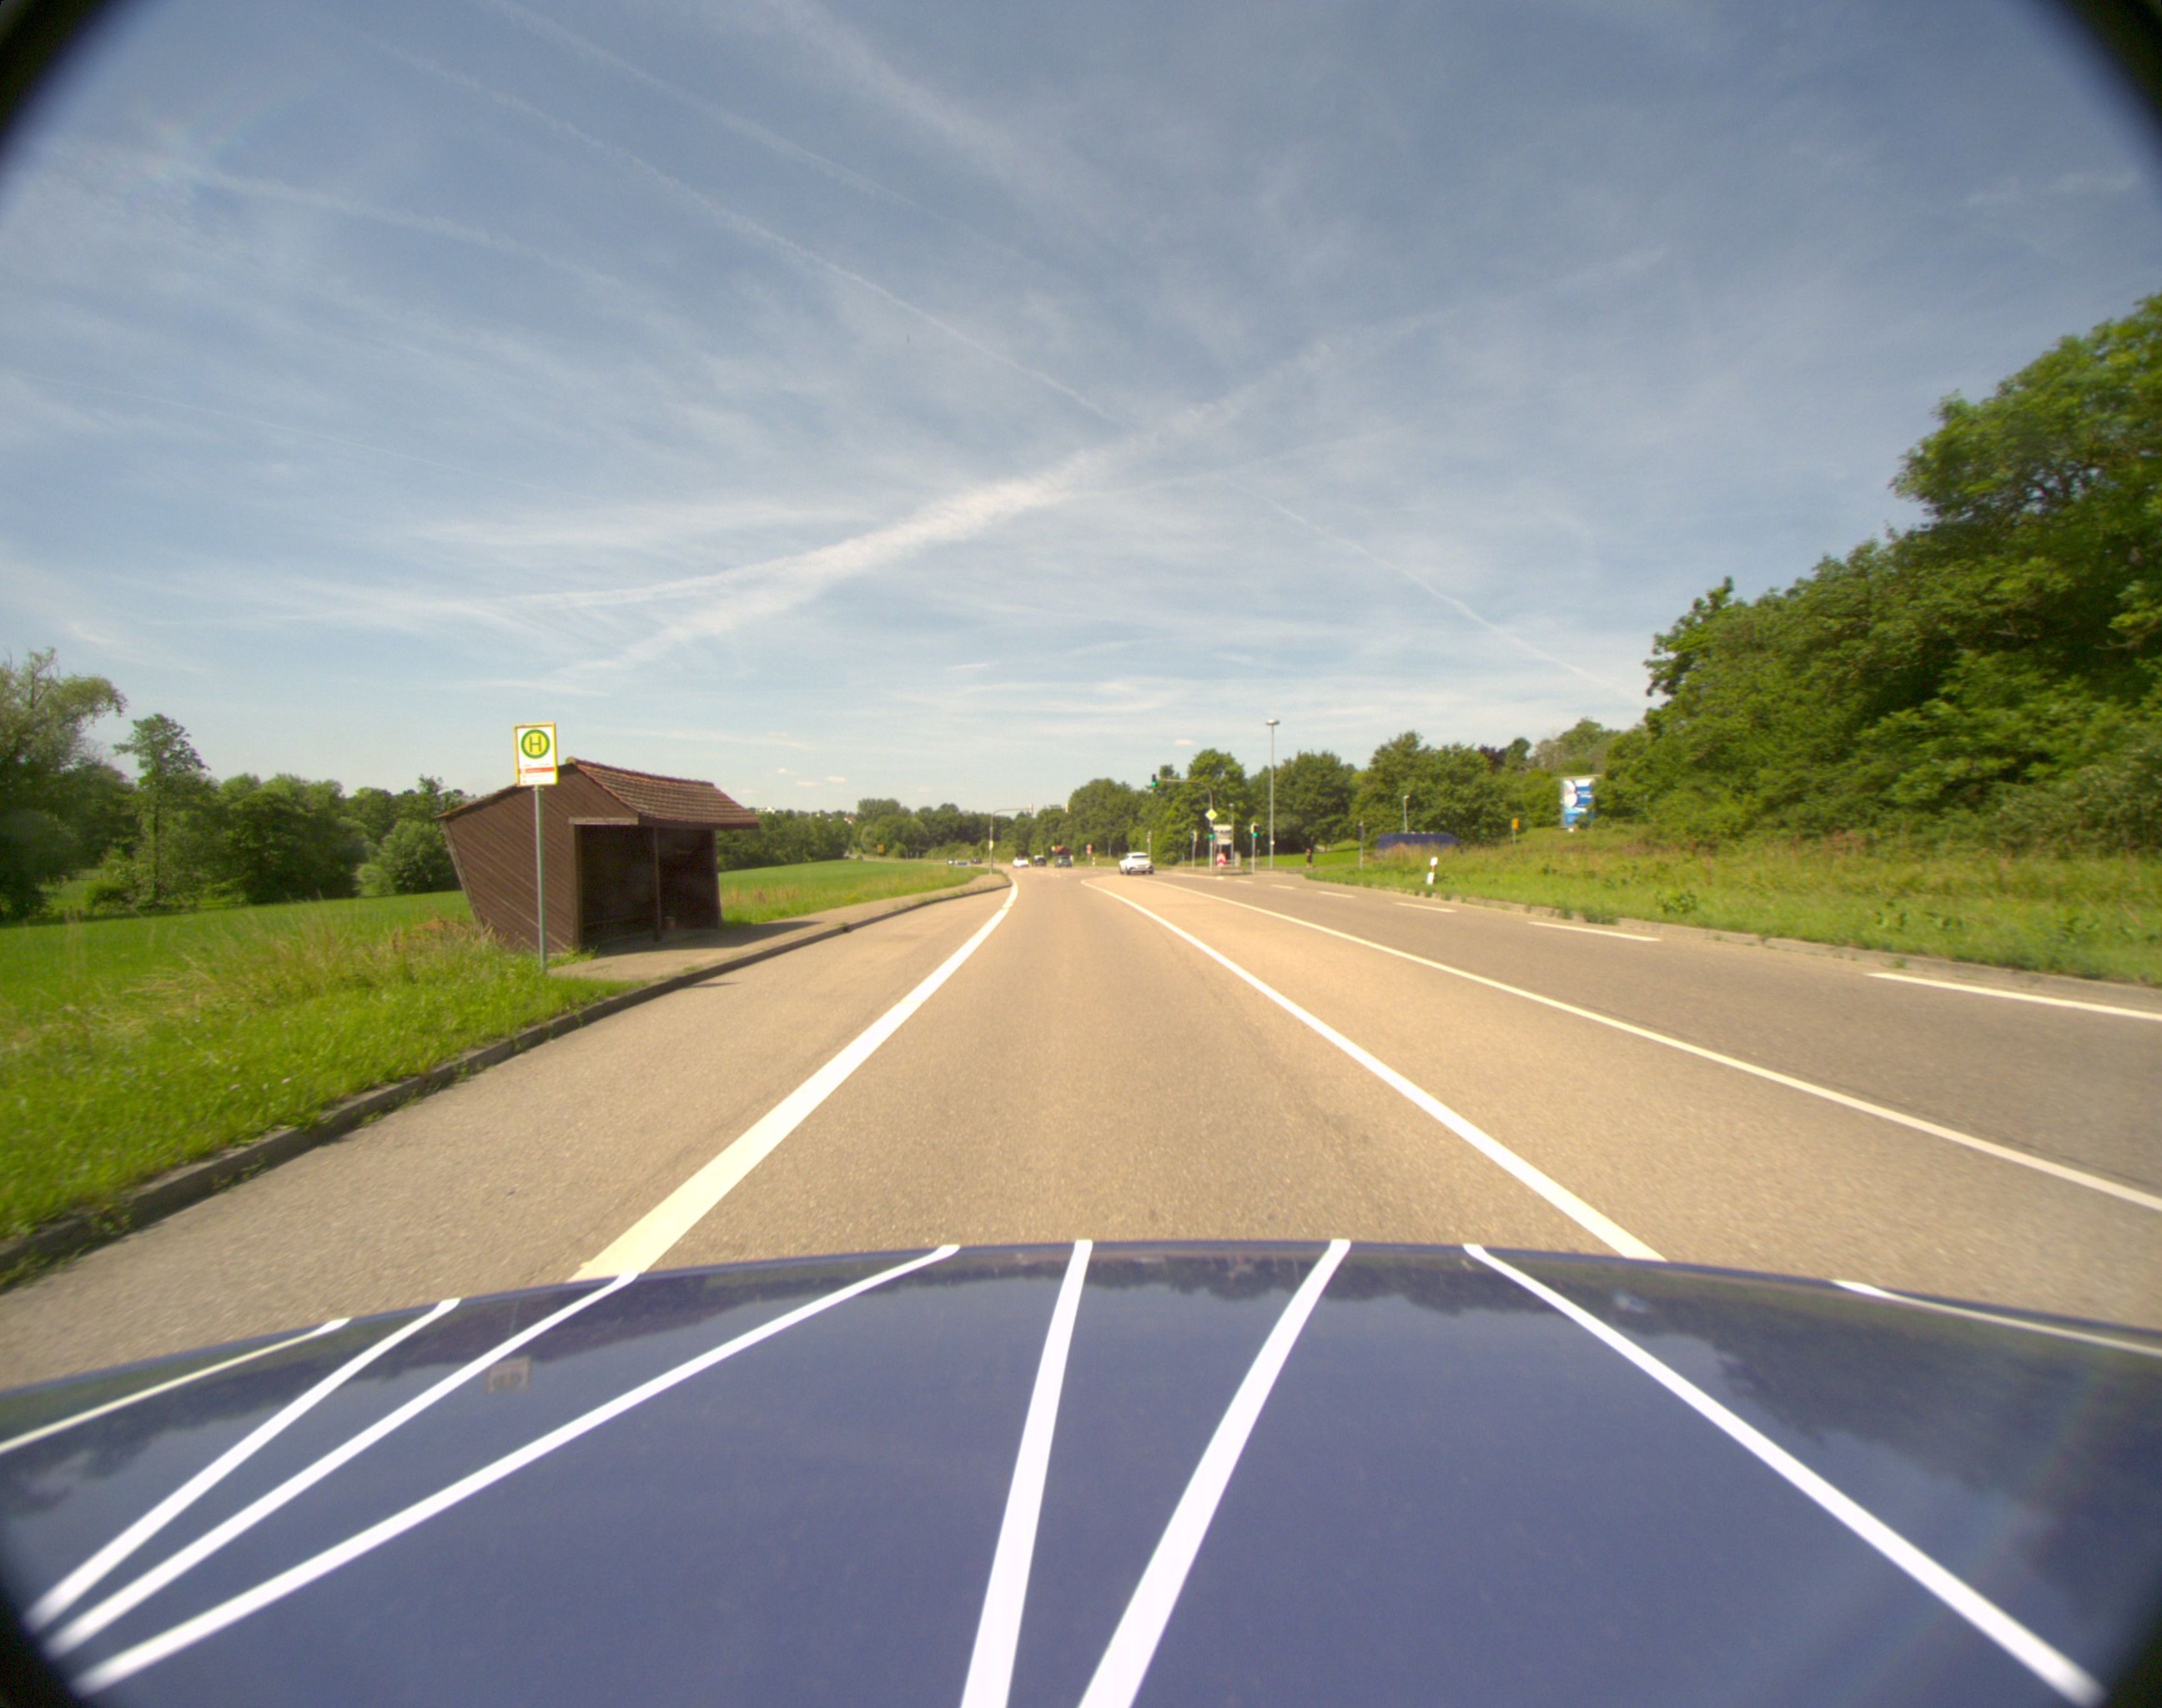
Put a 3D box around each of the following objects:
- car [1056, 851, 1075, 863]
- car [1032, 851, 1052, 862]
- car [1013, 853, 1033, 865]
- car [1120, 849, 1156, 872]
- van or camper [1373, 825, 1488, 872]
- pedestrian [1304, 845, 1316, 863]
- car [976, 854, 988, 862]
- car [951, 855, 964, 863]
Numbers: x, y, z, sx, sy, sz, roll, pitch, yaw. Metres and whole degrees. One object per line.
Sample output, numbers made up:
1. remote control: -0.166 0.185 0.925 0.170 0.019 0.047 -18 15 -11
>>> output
1. car: -2.010 0.351 96.446 1.713 1.474 3.828 -3 0 -12
2. car: -5.938 0.340 114.232 1.982 1.553 4.183 -3 1 -16
3. car: -8.373 0.762 109.787 2.001 1.576 3.994 -3 1 -16
4. car: 4.133 0.455 55.443 1.943 1.539 4.625 -2 1 -4
5. van or camper: 23.959 -0.344 52.152 7.249 2.896 2.245 2 -1 -12
6. pedestrian: 22.294 -0.024 73.985 0.920 1.726 0.901 -2 1 29
7. car: -21.227 0.852 162.625 1.798 1.465 4.304 -3 0 -16
8. car: -26.890 1.046 164.884 2.002 1.576 3.993 -3 1 -21
